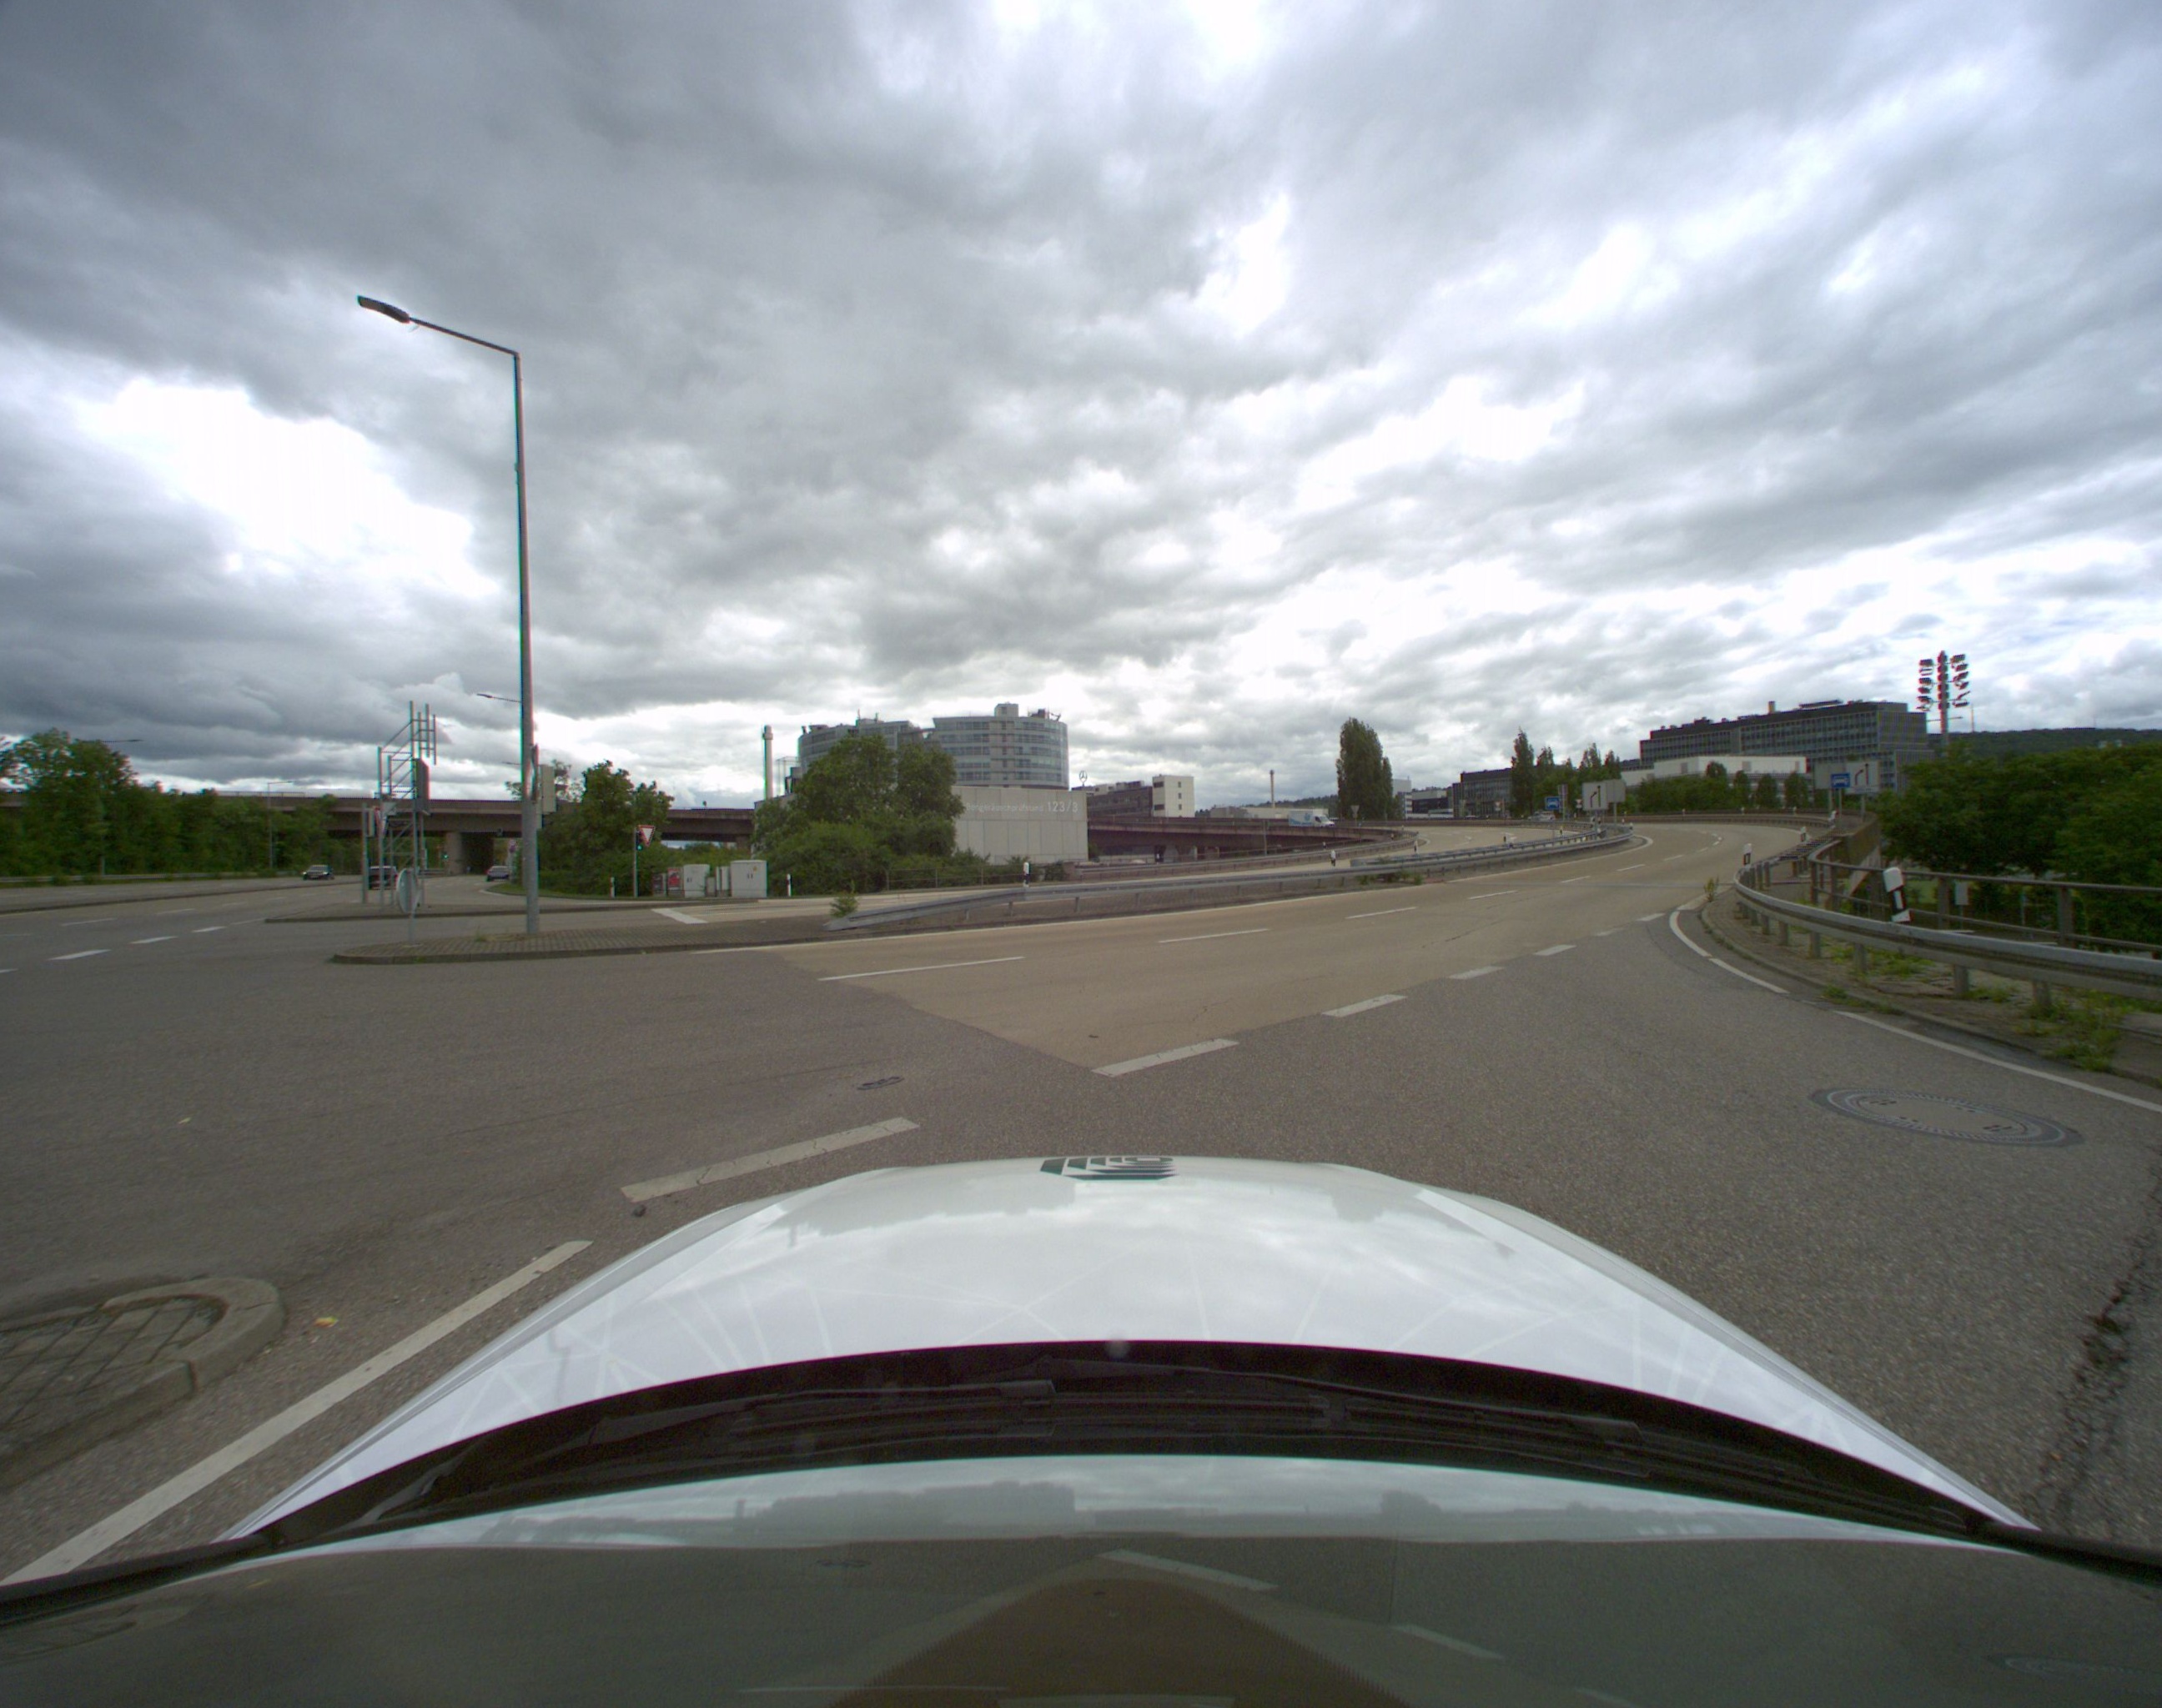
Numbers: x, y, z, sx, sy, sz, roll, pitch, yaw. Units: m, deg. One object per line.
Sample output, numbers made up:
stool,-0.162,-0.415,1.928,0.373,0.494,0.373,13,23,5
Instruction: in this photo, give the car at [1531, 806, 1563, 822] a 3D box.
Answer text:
car,57.587,-4.936,100.685,1.715,1.737,4.564,-1,0,7

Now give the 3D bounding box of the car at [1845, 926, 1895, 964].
car,44.026,5.027,45.425,4.023,1.534,1.805,-2,1,-43

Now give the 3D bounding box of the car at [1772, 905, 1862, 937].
car,55.701,5.038,61.715,2.026,1.862,4.803,2,1,-41

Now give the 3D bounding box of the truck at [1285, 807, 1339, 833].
truck,31.786,-4.661,112.342,2.340,3.269,7.268,1,-1,-36

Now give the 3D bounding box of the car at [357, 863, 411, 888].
car,-43.116,1.330,50.486,1.922,1.422,3.953,3,-2,-32

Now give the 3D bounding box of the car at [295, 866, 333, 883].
car,-74.990,1.994,79.653,1.874,1.383,3.831,3,0,-31

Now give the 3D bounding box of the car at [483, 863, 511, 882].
car,-55.744,1.762,77.781,1.922,1.662,4.697,3,-1,-34

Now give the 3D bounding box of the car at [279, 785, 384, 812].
car,-113.603,-8.330,123.705,11.141,3.031,3.473,3,-1,-15
